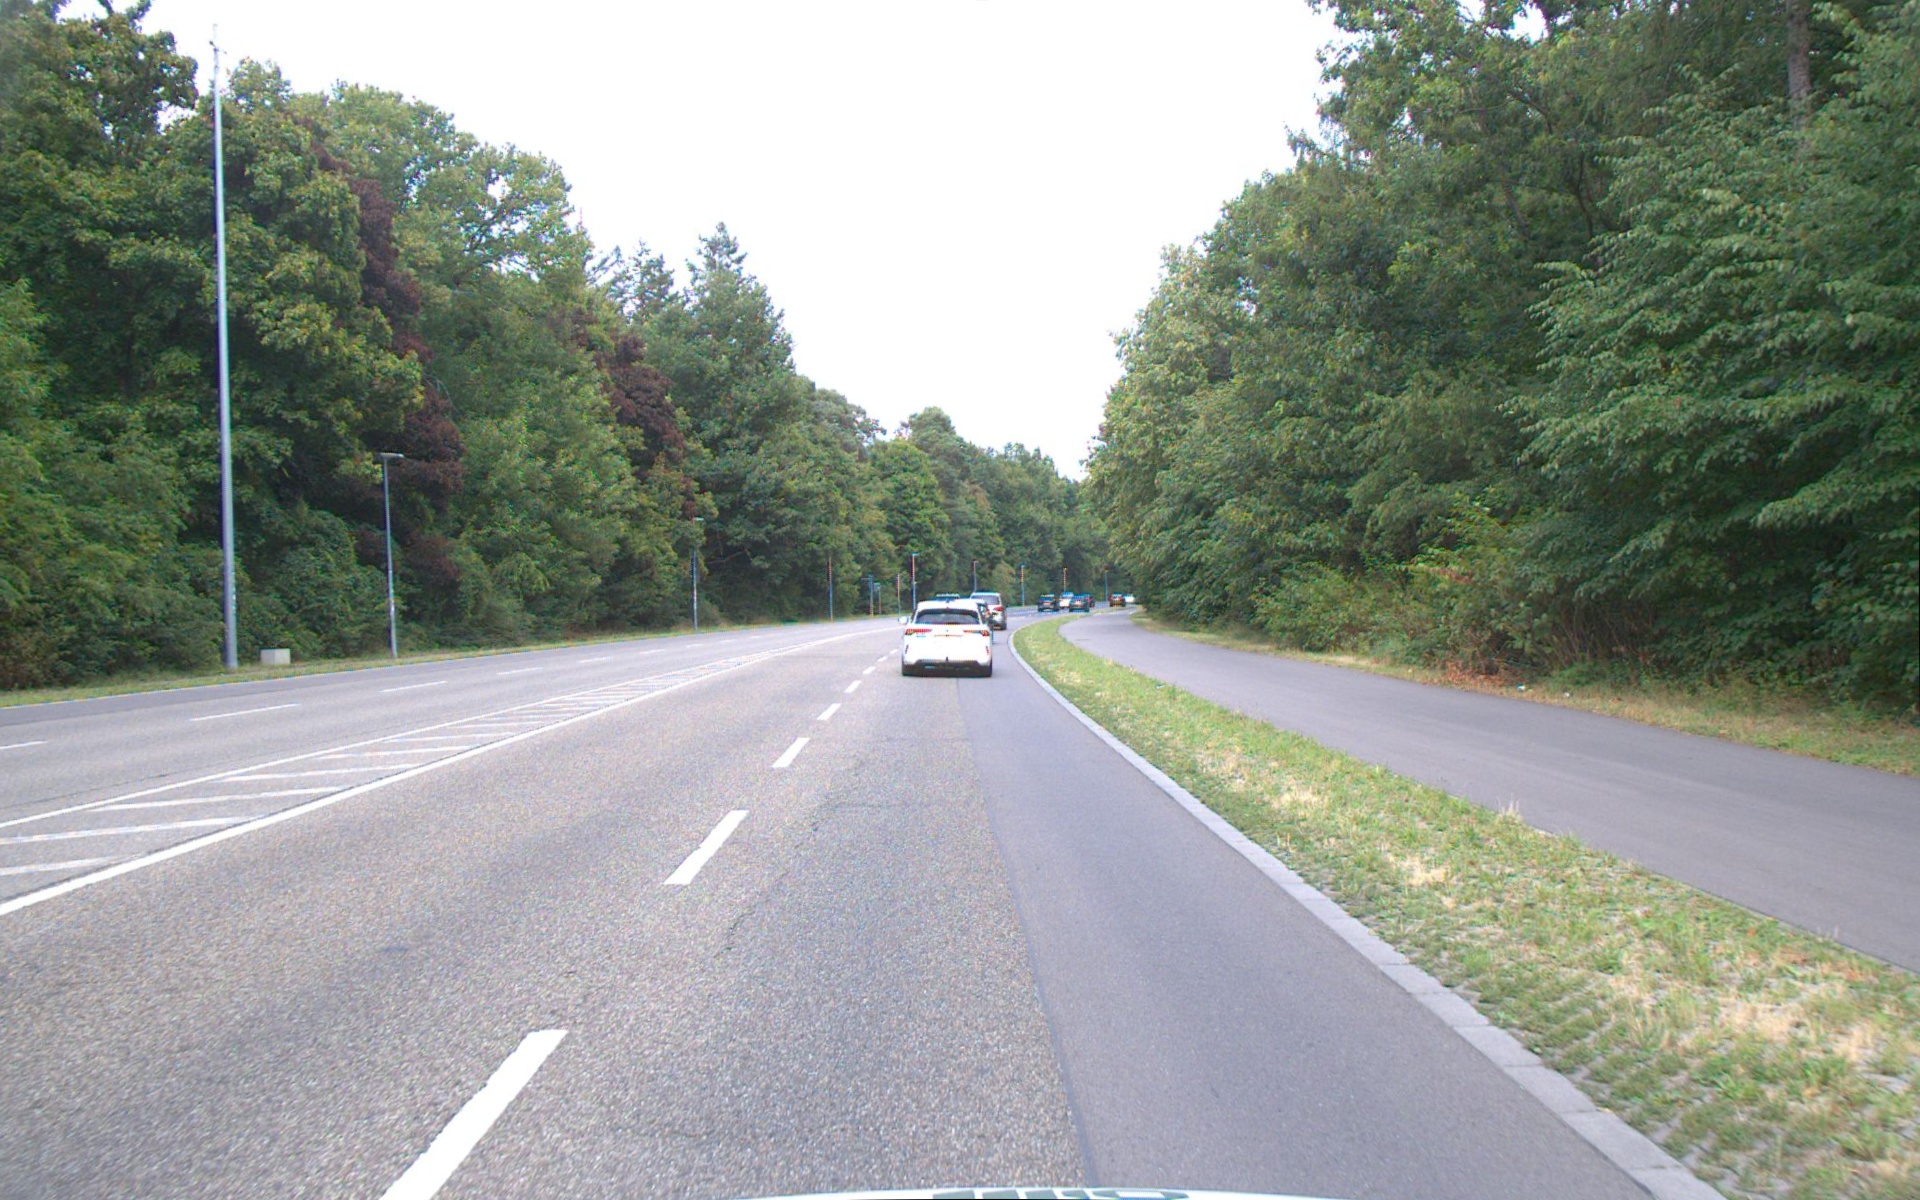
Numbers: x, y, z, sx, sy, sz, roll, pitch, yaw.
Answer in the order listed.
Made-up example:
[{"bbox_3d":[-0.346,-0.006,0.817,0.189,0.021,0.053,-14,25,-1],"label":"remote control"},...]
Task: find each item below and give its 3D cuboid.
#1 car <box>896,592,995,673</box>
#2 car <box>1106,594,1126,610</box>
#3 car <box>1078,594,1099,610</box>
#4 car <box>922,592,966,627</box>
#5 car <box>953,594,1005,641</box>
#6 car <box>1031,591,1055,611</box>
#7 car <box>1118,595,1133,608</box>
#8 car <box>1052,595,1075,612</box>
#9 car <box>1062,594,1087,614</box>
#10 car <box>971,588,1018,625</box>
[{"bbox_3d":[-0.310,0.633,33.051,1.799,1.435,4.489,2,-1,-1],"label":"car"},{"bbox_3d":[19.482,0.277,206.396,1.951,1.814,4.003,2,-1,14],"label":"car"},{"bbox_3d":[15.472,0.301,199.571,1.951,1.814,4.003,2,-1,13],"label":"car"},{"bbox_3d":[-0.852,0.547,90.284,1.951,1.818,4.002,2,-1,5],"label":"car"},{"bbox_3d":[0.649,0.586,54.842,1.601,1.445,4.000,2,-1,1],"label":"car"},{"bbox_3d":[8.206,0.096,163.593,1.951,1.814,4.003,2,-1,8],"label":"car"},{"bbox_3d":[24.761,0.195,246.909,1.848,1.847,4.003,2,-1,11],"label":"car"},{"bbox_3d":[11.370,0.403,181.316,1.951,1.814,4.003,2,-1,10],"label":"car"},{"bbox_3d":[11.140,0.384,160.959,1.951,1.814,4.003,2,-1,10],"label":"car"},{"bbox_3d":[1.637,0.328,76.733,1.952,1.635,4.002,2,-1,4],"label":"car"}]
